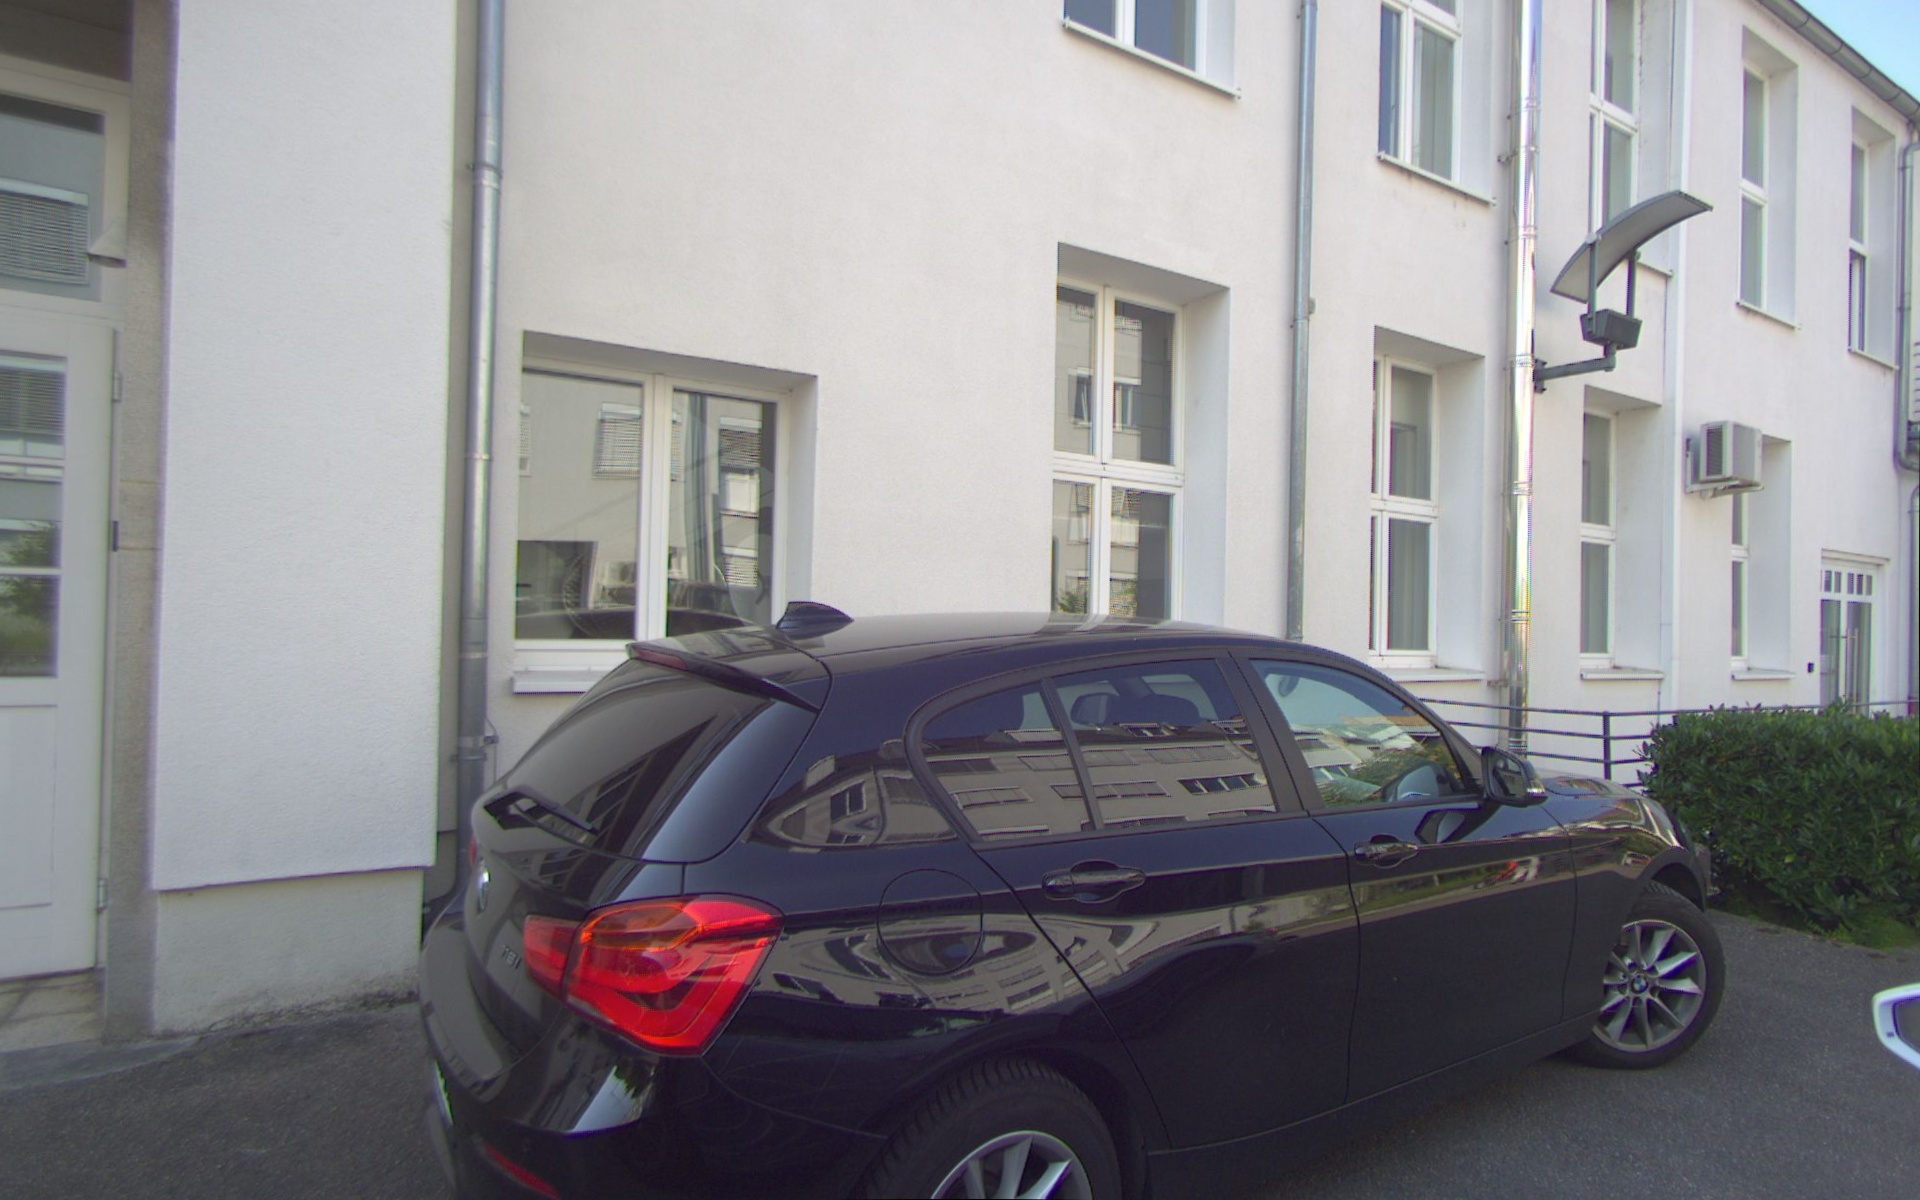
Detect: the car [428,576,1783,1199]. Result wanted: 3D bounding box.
[{"bbox_3d":[0.725,0.740,3.172,4.093,1.447,1.782,2,0,-34],"label":"car"}]
